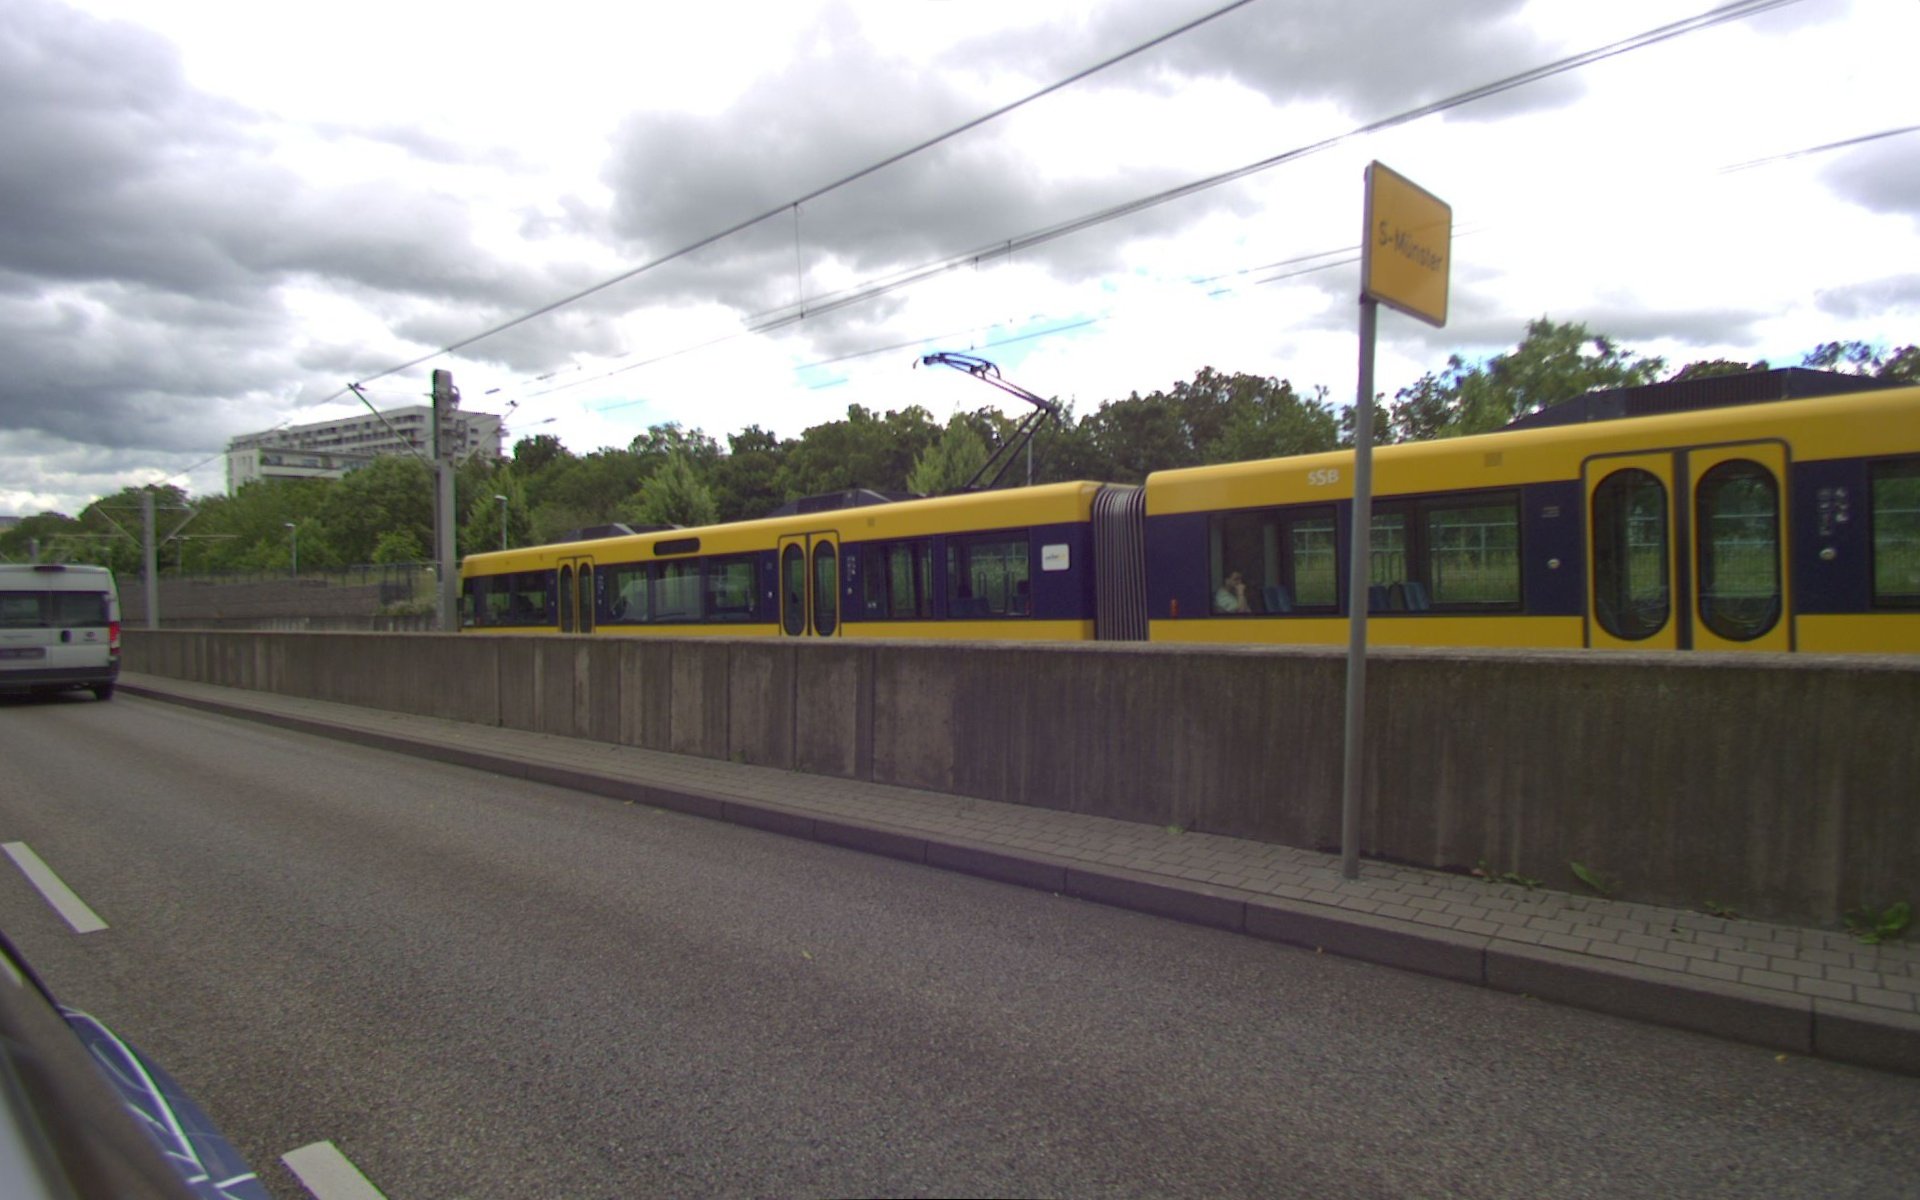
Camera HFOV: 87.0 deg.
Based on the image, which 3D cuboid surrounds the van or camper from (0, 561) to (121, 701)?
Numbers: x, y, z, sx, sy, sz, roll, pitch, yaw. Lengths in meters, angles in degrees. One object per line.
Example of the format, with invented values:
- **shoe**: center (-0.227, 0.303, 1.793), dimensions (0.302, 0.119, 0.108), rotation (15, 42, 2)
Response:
- **van or camper**: center (-18.539, 0.593, 19.975), dimensions (6.133, 2.414, 2.061), rotation (-1, -1, 41)

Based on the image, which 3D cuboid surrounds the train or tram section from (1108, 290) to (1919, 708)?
- **train or tram section**: center (9.967, -0.773, 6.948), dimensions (19.084, 3.100, 2.776), rotation (0, 0, 40)

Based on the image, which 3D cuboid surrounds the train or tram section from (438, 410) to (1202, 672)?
- **train or tram section**: center (-4.627, -0.664, 19.410), dimensions (18.905, 3.140, 2.782), rotation (0, 0, 41)
